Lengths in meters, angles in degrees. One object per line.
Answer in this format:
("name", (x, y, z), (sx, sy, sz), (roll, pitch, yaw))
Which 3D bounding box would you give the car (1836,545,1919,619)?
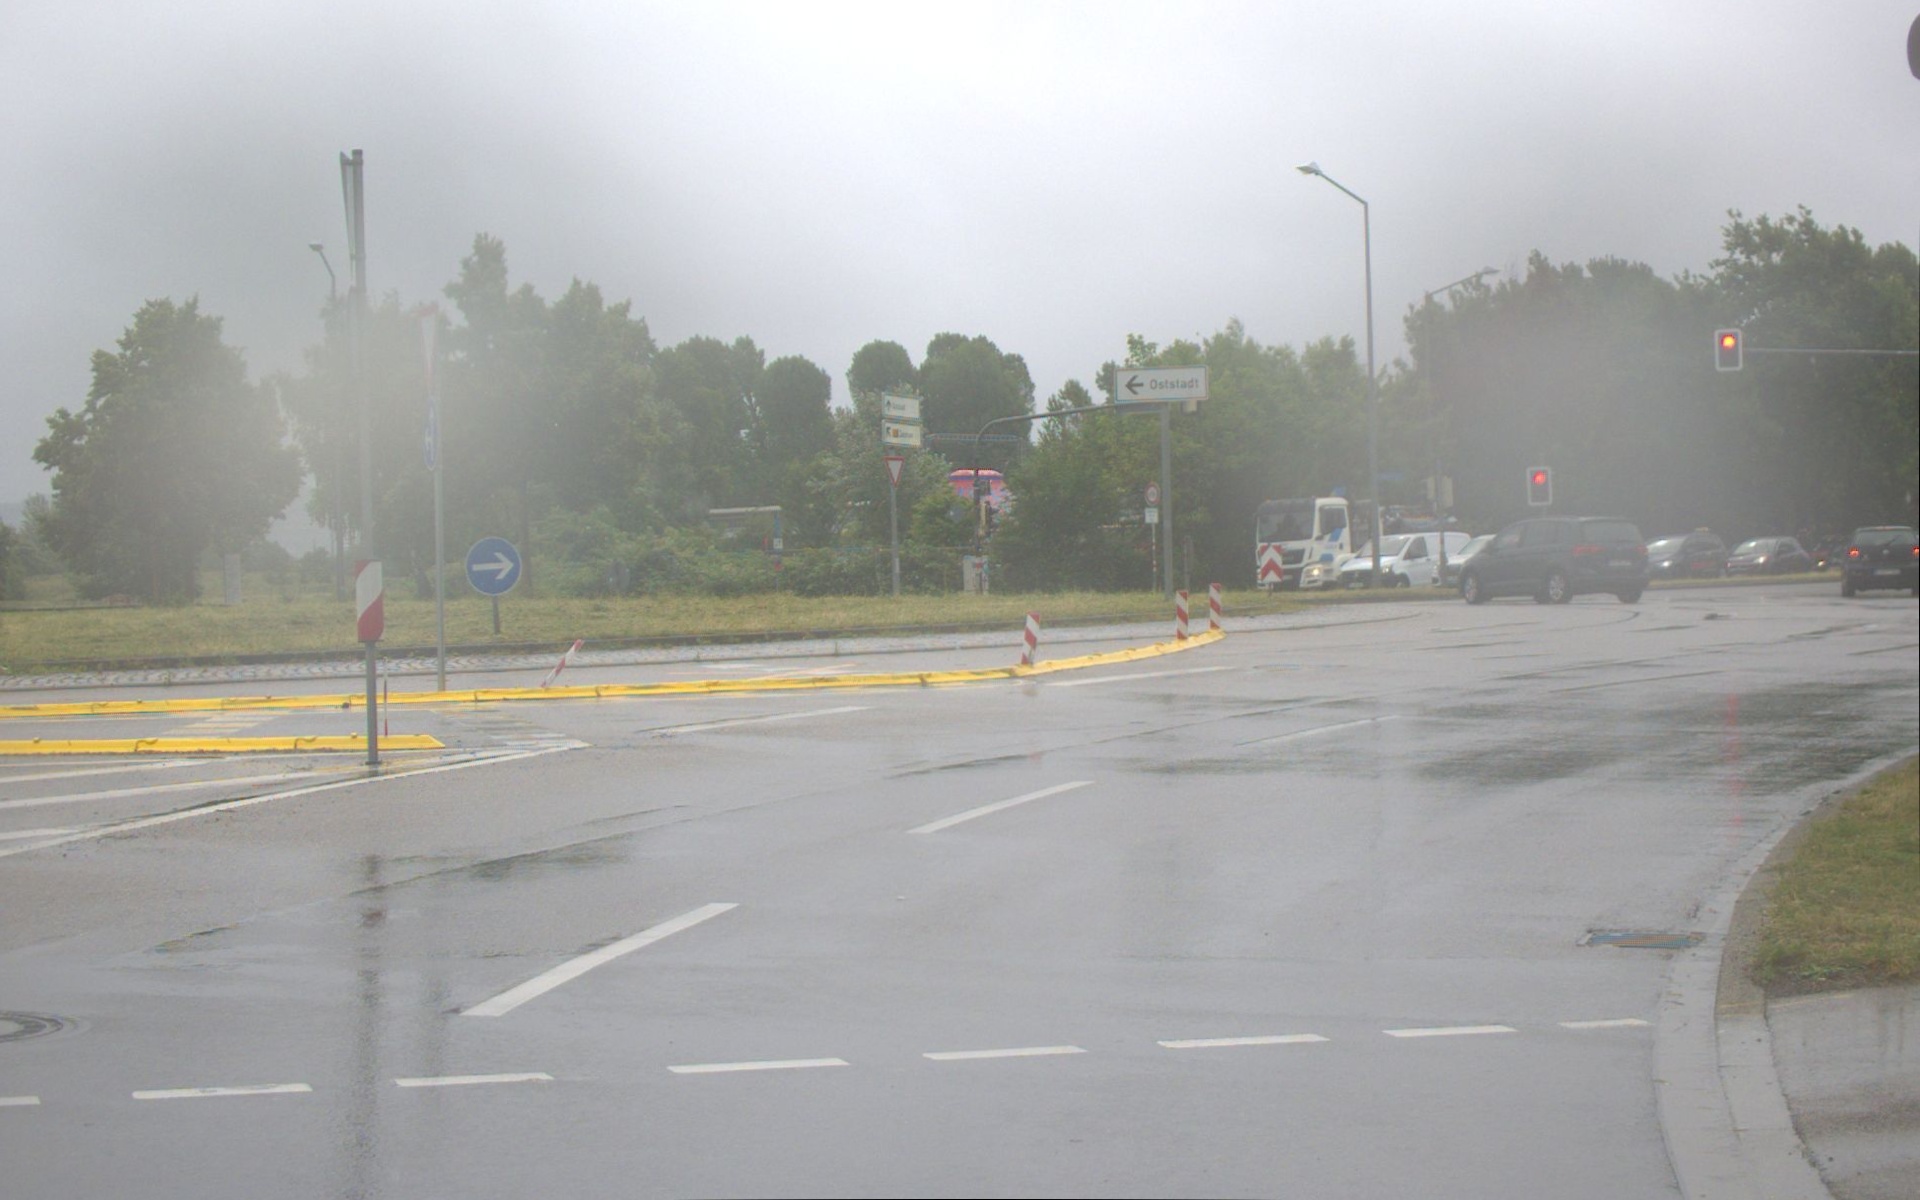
("car", (19.070, -0.394, 71.144), (1.619, 1.449, 3.986), (-1, 1, 12))

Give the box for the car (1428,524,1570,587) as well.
("car", (14.847, -1.209, 94.601), (1.800, 1.656, 4.399), (1, 0, 41))

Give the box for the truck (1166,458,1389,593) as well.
("truck", (6.955, -1.543, 74.120), (2.464, 2.677, 8.049), (1, 0, 23))

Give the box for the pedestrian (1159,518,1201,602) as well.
("pedestrian", (3.475, -0.631, 54.290), (0.453, 1.300, 0.485), (-1, 1, 38))

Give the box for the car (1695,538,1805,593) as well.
("car", (24.691, -1.063, 107.381), (1.800, 1.656, 3.991), (1, 0, 38))

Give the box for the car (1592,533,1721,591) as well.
("car", (20.749, -1.122, 102.303), (1.800, 1.656, 4.399), (1, 0, 41))

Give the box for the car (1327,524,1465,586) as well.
("car", (12.203, -1.253, 96.071), (1.800, 1.656, 4.124), (1, 0, 41))

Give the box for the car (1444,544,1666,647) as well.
("car", (11.206, -0.092, 65.104), (1.993, 1.845, 4.777), (1, 0, -20))
